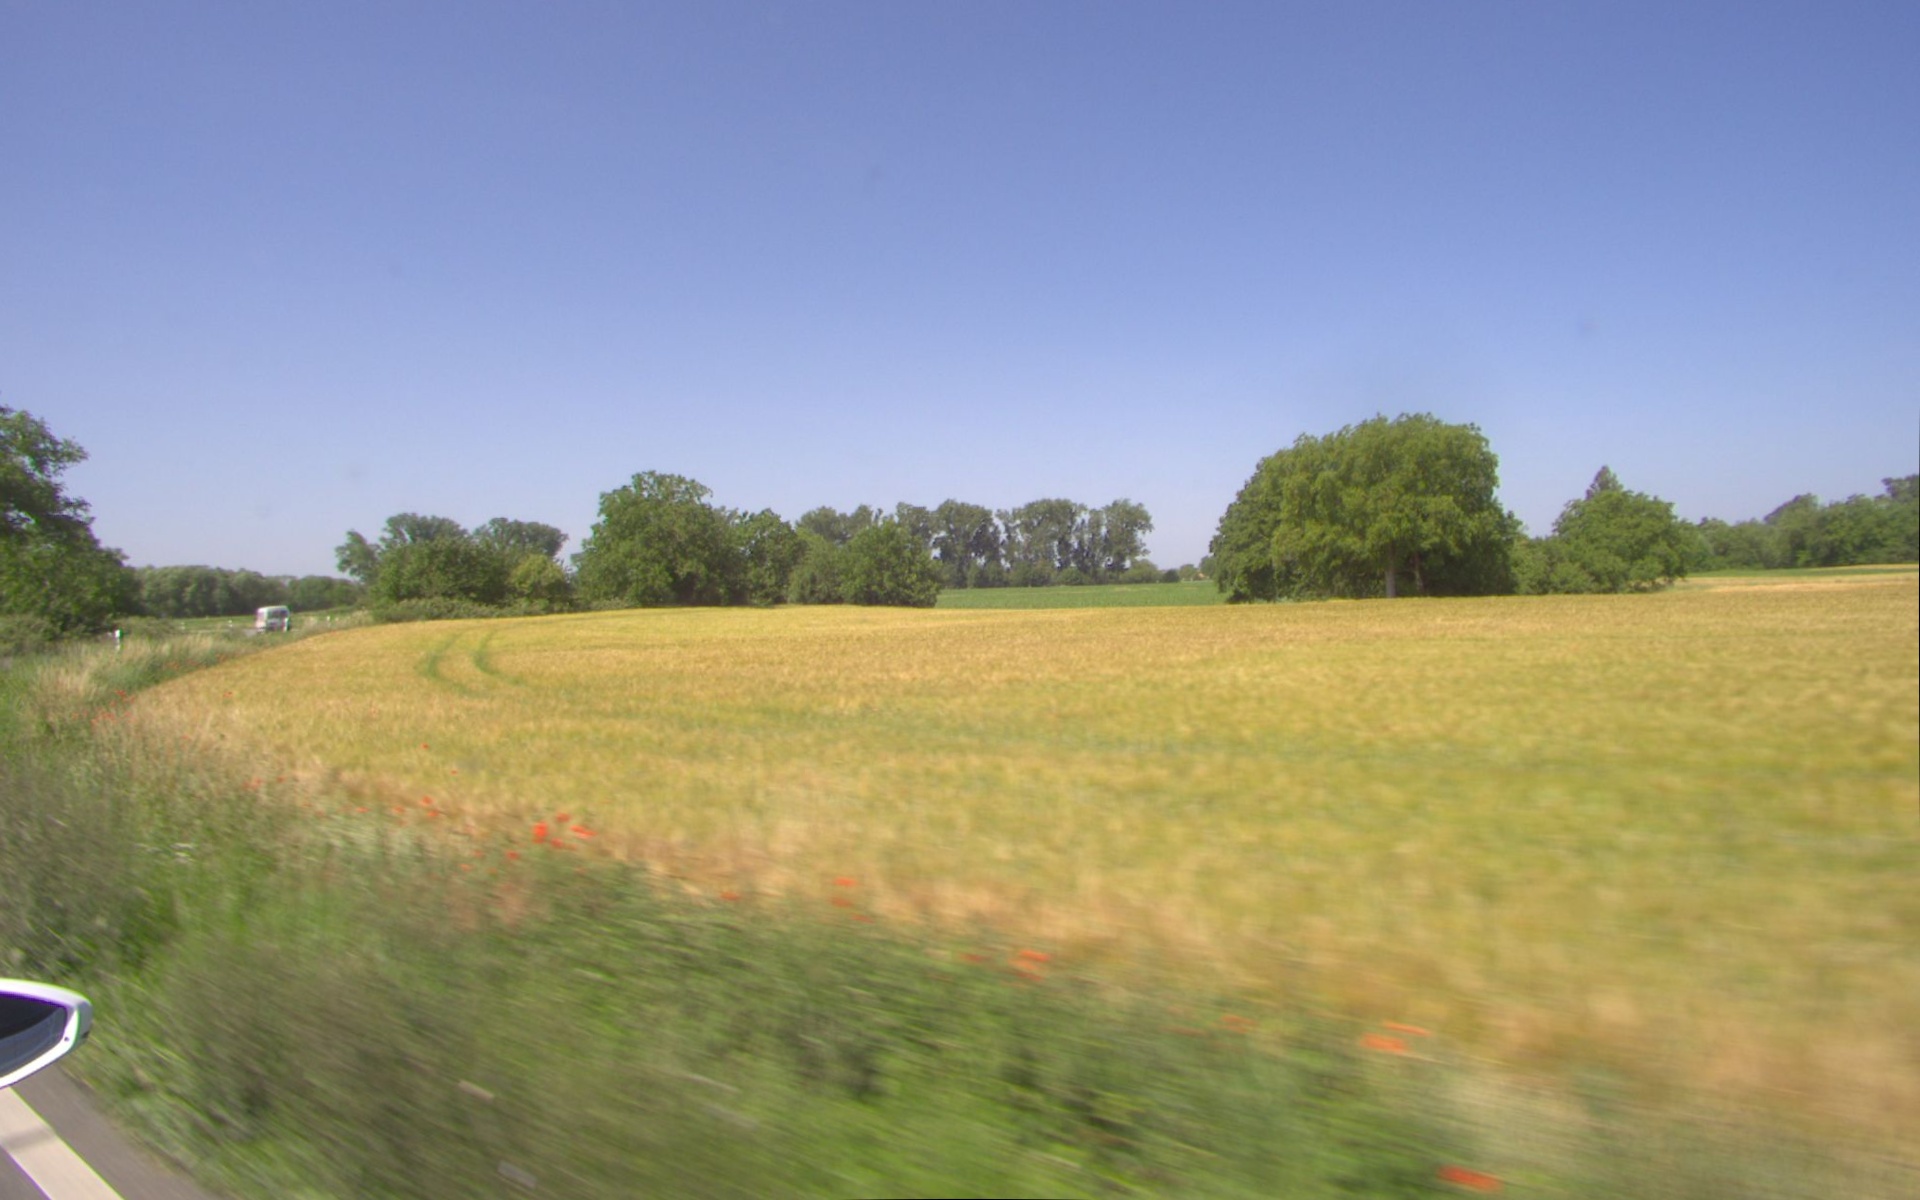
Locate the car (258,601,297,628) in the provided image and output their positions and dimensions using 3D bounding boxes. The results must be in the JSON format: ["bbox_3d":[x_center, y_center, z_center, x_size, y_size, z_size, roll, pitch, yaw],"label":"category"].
[{"bbox_3d":[-63.634,1.324,93.311,2.088,2.399,5.633,-3,2,-42],"label":"car"}]
